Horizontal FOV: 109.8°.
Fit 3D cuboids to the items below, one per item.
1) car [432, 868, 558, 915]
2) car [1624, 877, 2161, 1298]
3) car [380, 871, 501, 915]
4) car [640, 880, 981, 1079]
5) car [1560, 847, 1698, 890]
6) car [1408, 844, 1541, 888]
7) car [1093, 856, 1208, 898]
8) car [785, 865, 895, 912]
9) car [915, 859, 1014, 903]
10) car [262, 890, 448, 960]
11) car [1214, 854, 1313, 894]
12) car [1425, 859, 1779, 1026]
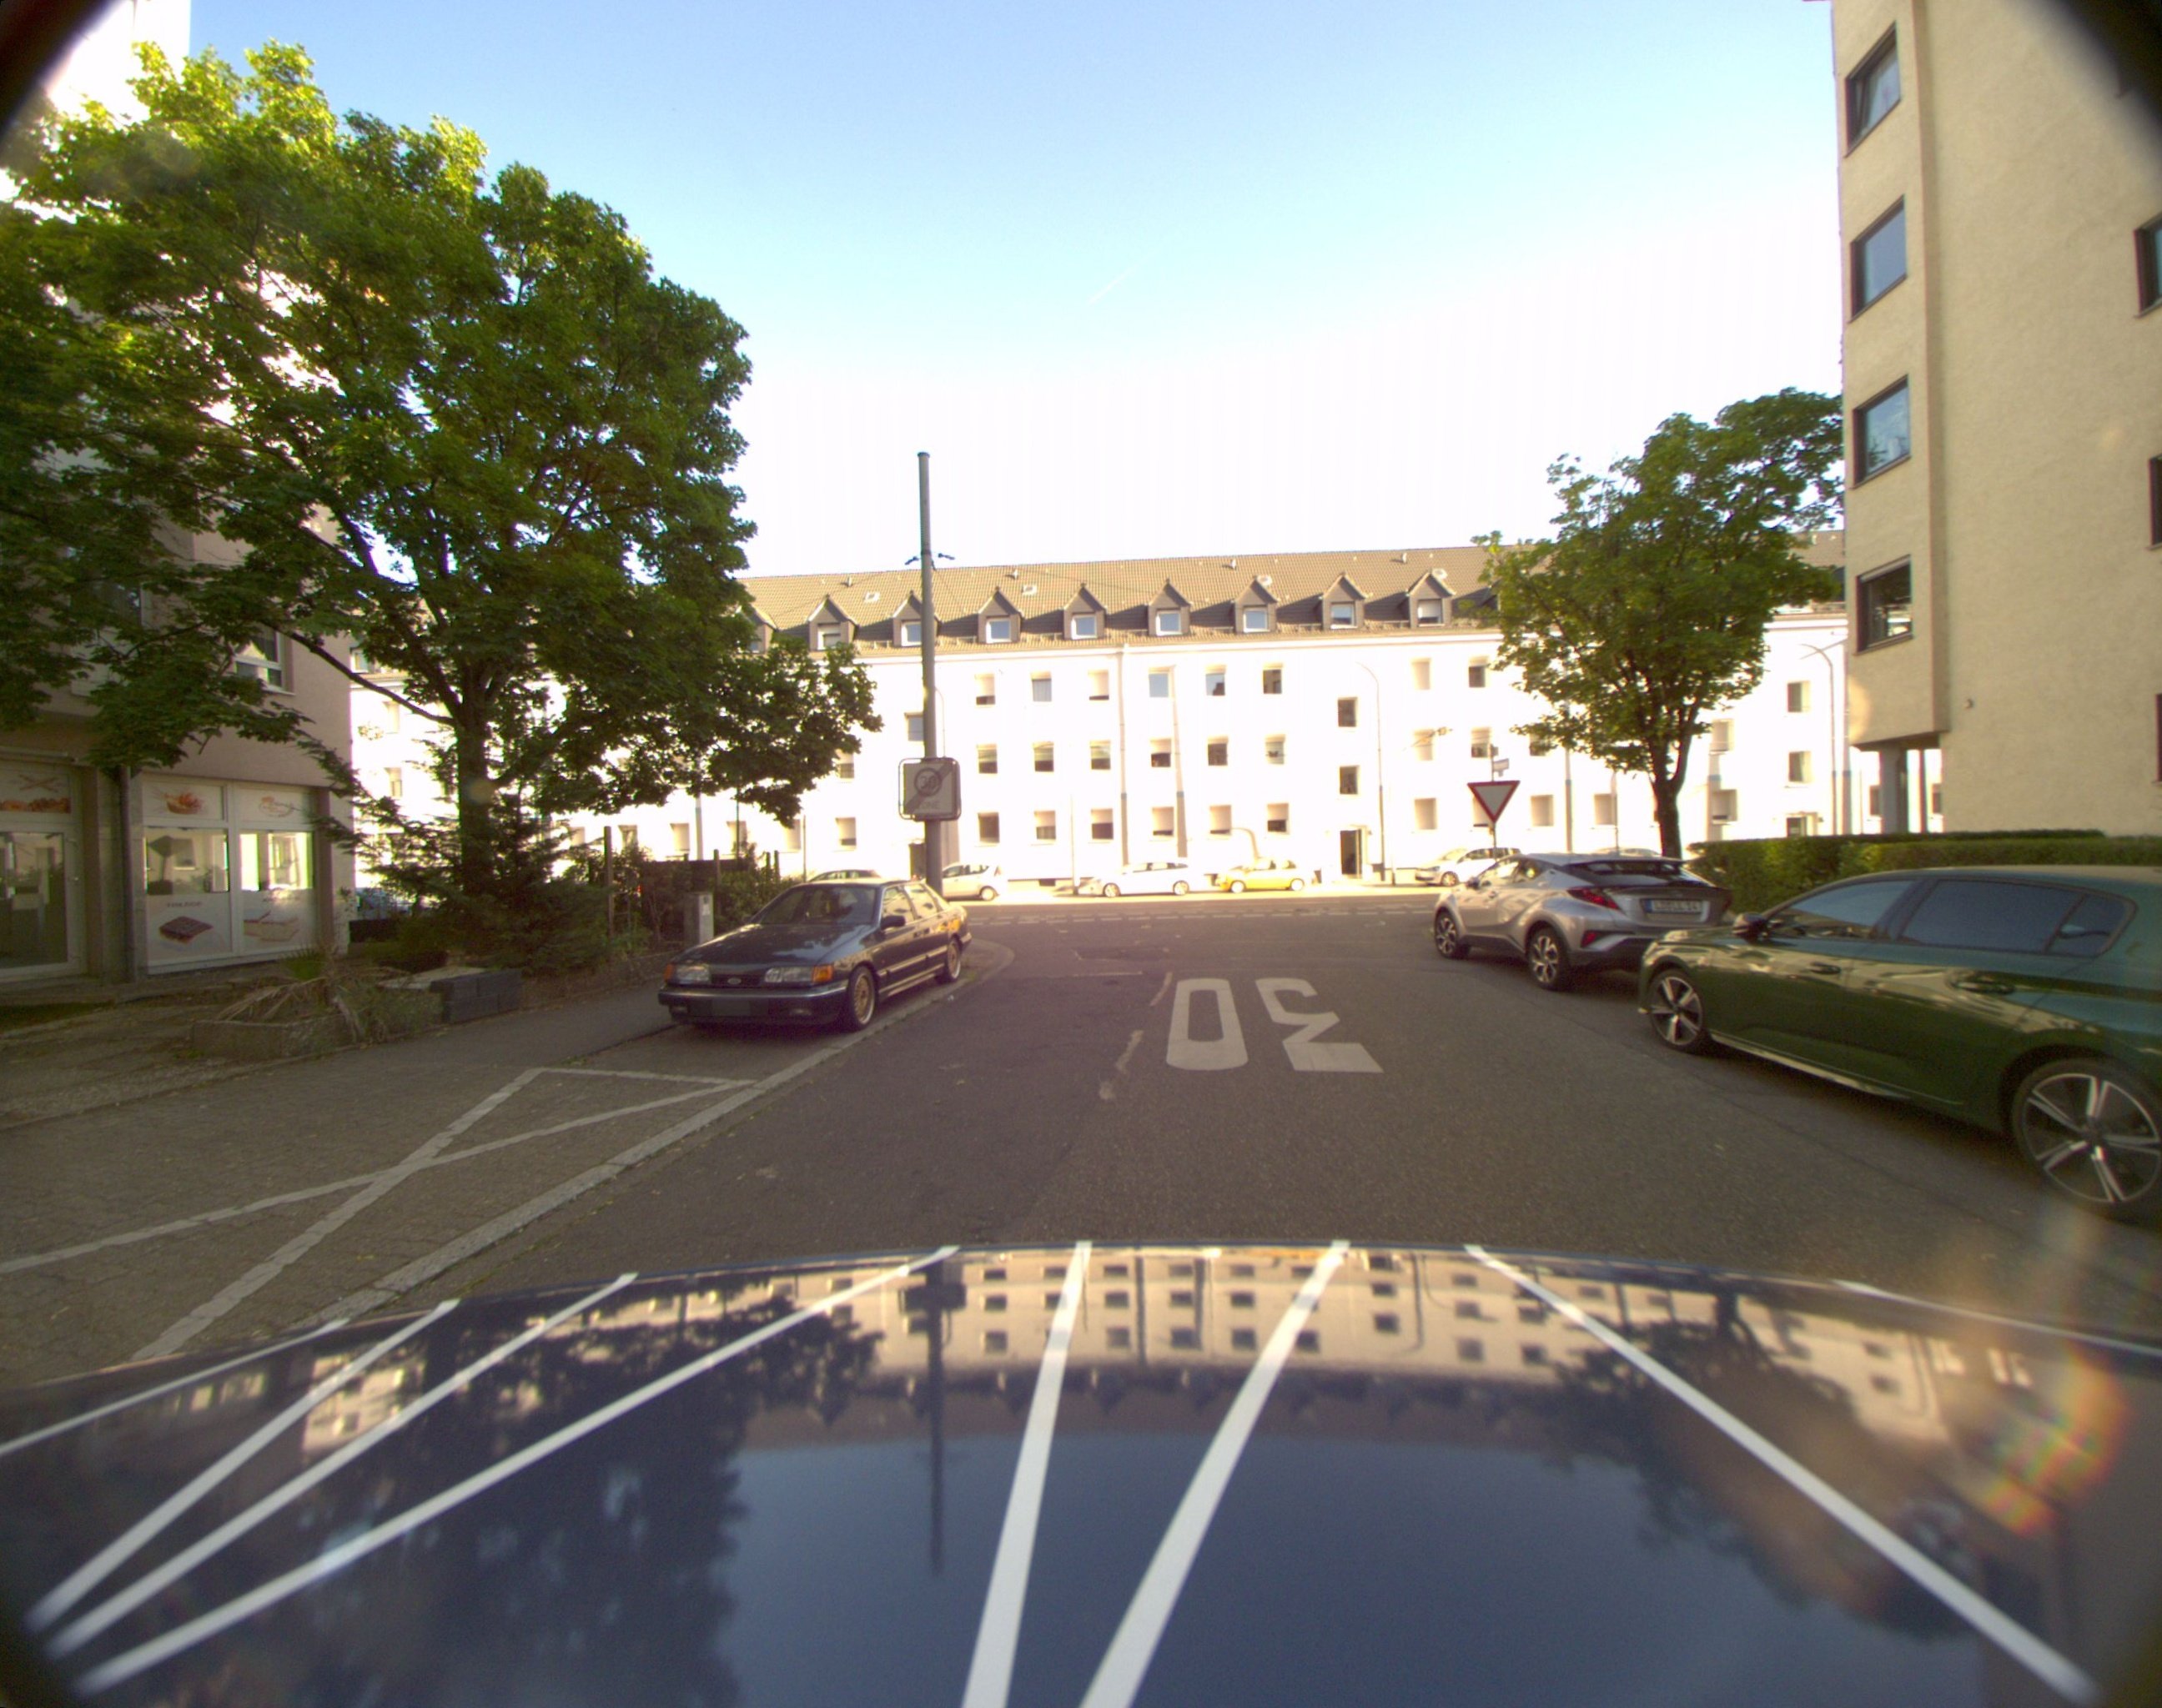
[{"bbox_3d":[-24.623,1.565,32.019,3.996,1.770,1.695,-2,0,3],"label":"car"},{"bbox_3d":[5.078,0.936,4.064,1.769,1.444,4.210,1,0,8],"label":"car"},{"bbox_3d":[-28.703,1.729,34.119,3.996,1.770,1.695,-2,0,3],"label":"car"},{"bbox_3d":[-2.571,1.109,8.547,1.664,1.399,4.510,1,1,9],"label":"car"},{"bbox_3d":[21.665,0.560,30.166,4.071,1.675,1.923,0,0,0],"label":"car"},{"bbox_3d":[15.760,0.464,30.603,4.282,1.548,2.000,-2,0,0],"label":"car"},{"bbox_3d":[2.782,0.912,30.894,4.490,1.498,1.945,-2,0,3],"label":"car"},{"bbox_3d":[-9.867,1.394,31.338,3.875,1.498,1.649,-5,0,1],"label":"car"},{"bbox_3d":[-4.725,1.084,31.085,3.704,1.597,1.649,-2,0,1],"label":"car"},{"bbox_3d":[-16.363,1.583,17.215,2.879,1.348,1.262,-2,1,-2],"label":"car"},{"bbox_3d":[7.357,0.787,30.781,3.611,1.440,1.554,-2,1,1],"label":"car"},{"bbox_3d":[5.926,0.866,9.352,1.722,1.546,4.074,0,0,3],"label":"car"}]
